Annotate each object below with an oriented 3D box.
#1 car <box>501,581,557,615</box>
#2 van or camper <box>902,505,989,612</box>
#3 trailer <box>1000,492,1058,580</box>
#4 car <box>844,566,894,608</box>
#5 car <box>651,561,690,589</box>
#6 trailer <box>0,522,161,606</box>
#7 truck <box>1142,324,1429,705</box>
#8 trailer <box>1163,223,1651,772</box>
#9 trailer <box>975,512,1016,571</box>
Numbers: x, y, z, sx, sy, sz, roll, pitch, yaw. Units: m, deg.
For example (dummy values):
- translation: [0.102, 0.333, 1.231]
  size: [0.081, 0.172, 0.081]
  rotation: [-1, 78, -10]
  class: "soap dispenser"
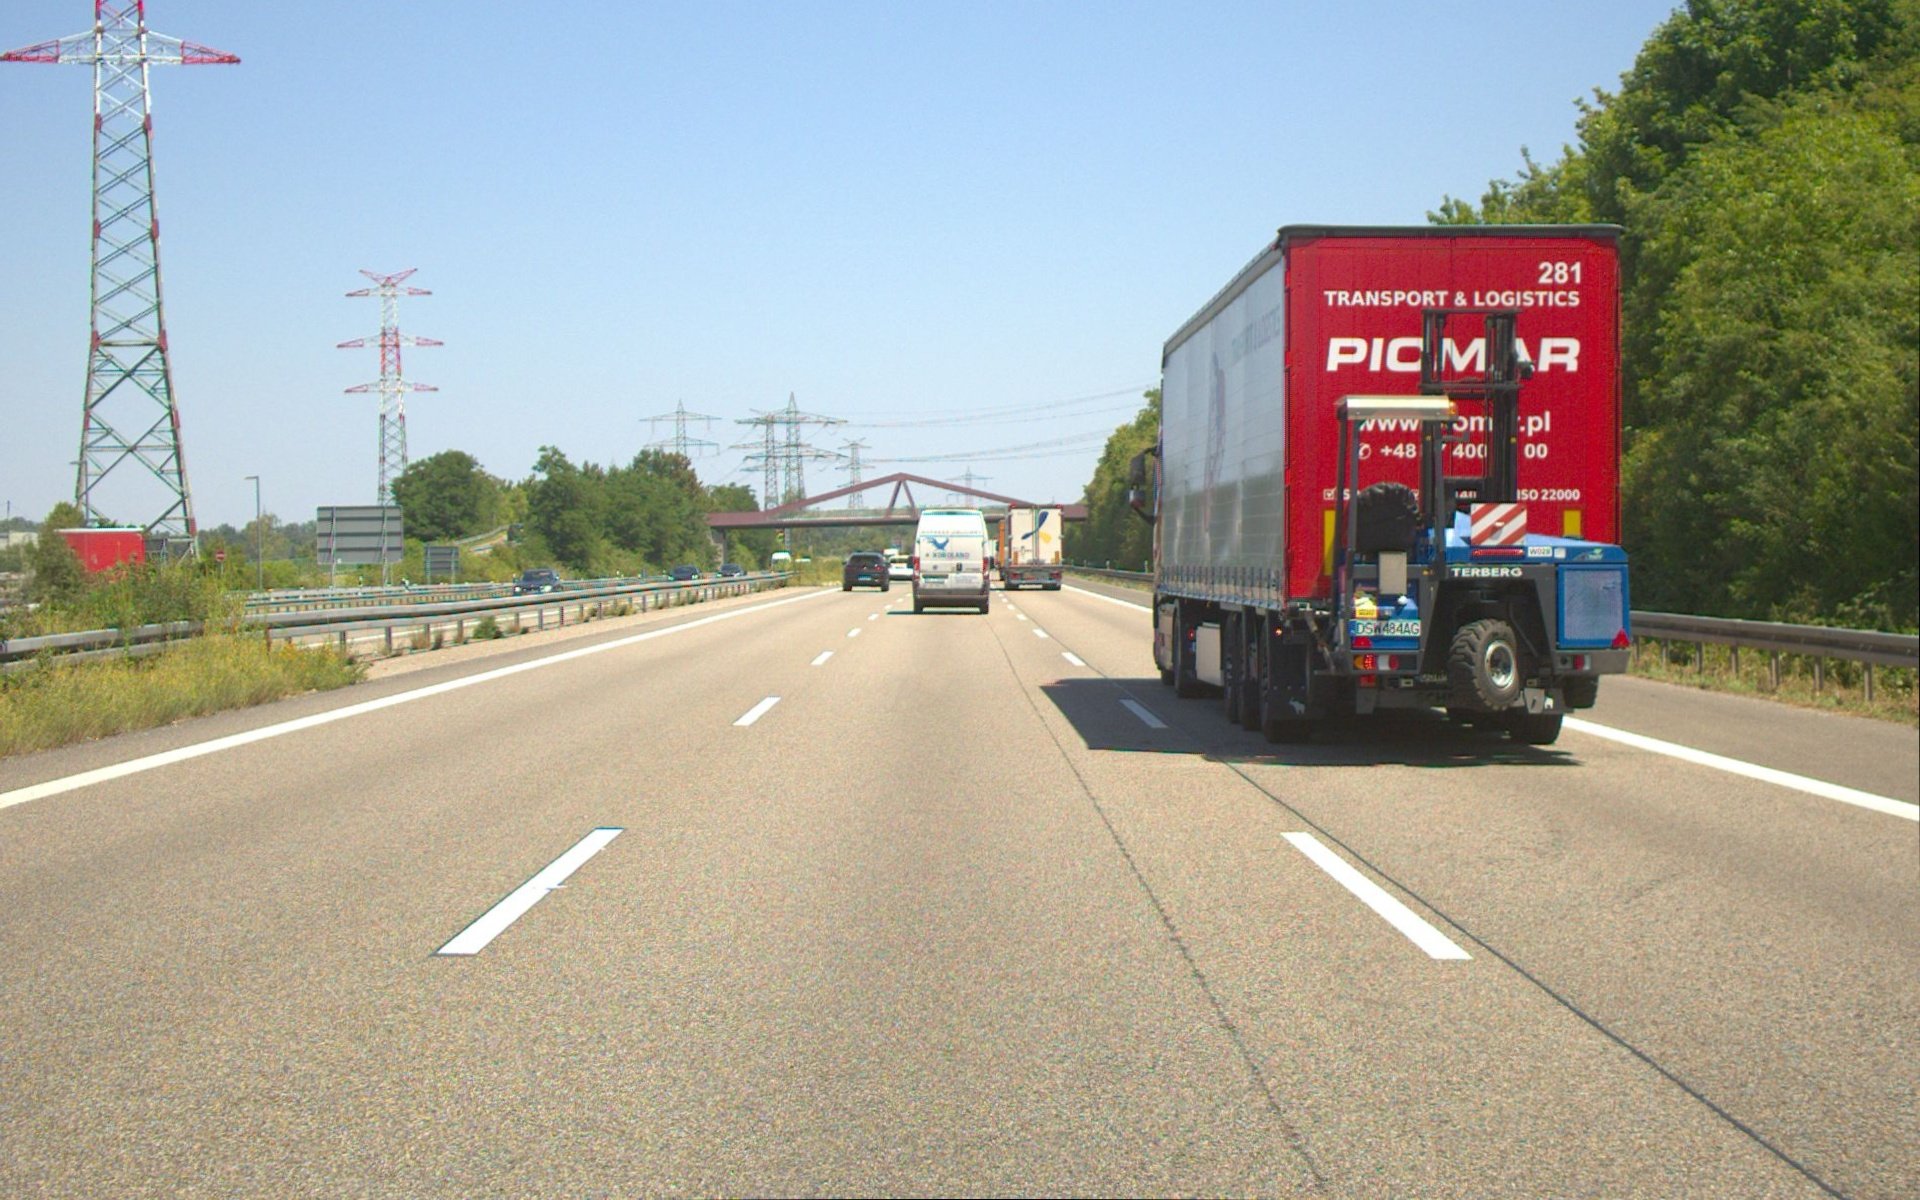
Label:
- translation: [-18.177, -0.103, 145.224]
  size: [1.742, 1.272, 4.318]
  rotation: [-3, 1, 0]
  class: "car"
- translation: [-0.386, -1.119, 93.049]
  size: [2.230, 2.772, 5.423]
  rotation: [1, 1, 0]
  class: "van or camper"
- translation: [3.301, -3.038, 166.026]
  size: [2.637, 4.046, 12.366]
  rotation: [1, 1, 1]
  class: "trailer"
- translation: [-4.063, -0.581, 154.627]
  size: [1.982, 1.811, 3.812]
  rotation: [1, 1, 2]
  class: "car"
- translation: [-17.374, -1.526, 206.652]
  size: [1.972, 1.641, 5.017]
  rotation: [1, 1, -1]
  class: "car"
- translation: [-45.096, -1.772, 170.856]
  size: [3.127, 4.041, 11.291]
  rotation: [2, 1, 34]
  class: "trailer"
- translation: [3.535, -0.920, 38.851]
  size: [2.499, 3.906, 7.097]
  rotation: [0, 1, 0]
  class: "truck"
- translation: [3.598, -0.810, 31.559]
  size: [2.490, 3.896, 14.246]
  rotation: [0, 1, 0]
  class: "trailer"
- translation: [2.414, -3.898, 230.896]
  size: [2.637, 3.883, 7.068]
  rotation: [1, 1, 1]
  class: "trailer"
